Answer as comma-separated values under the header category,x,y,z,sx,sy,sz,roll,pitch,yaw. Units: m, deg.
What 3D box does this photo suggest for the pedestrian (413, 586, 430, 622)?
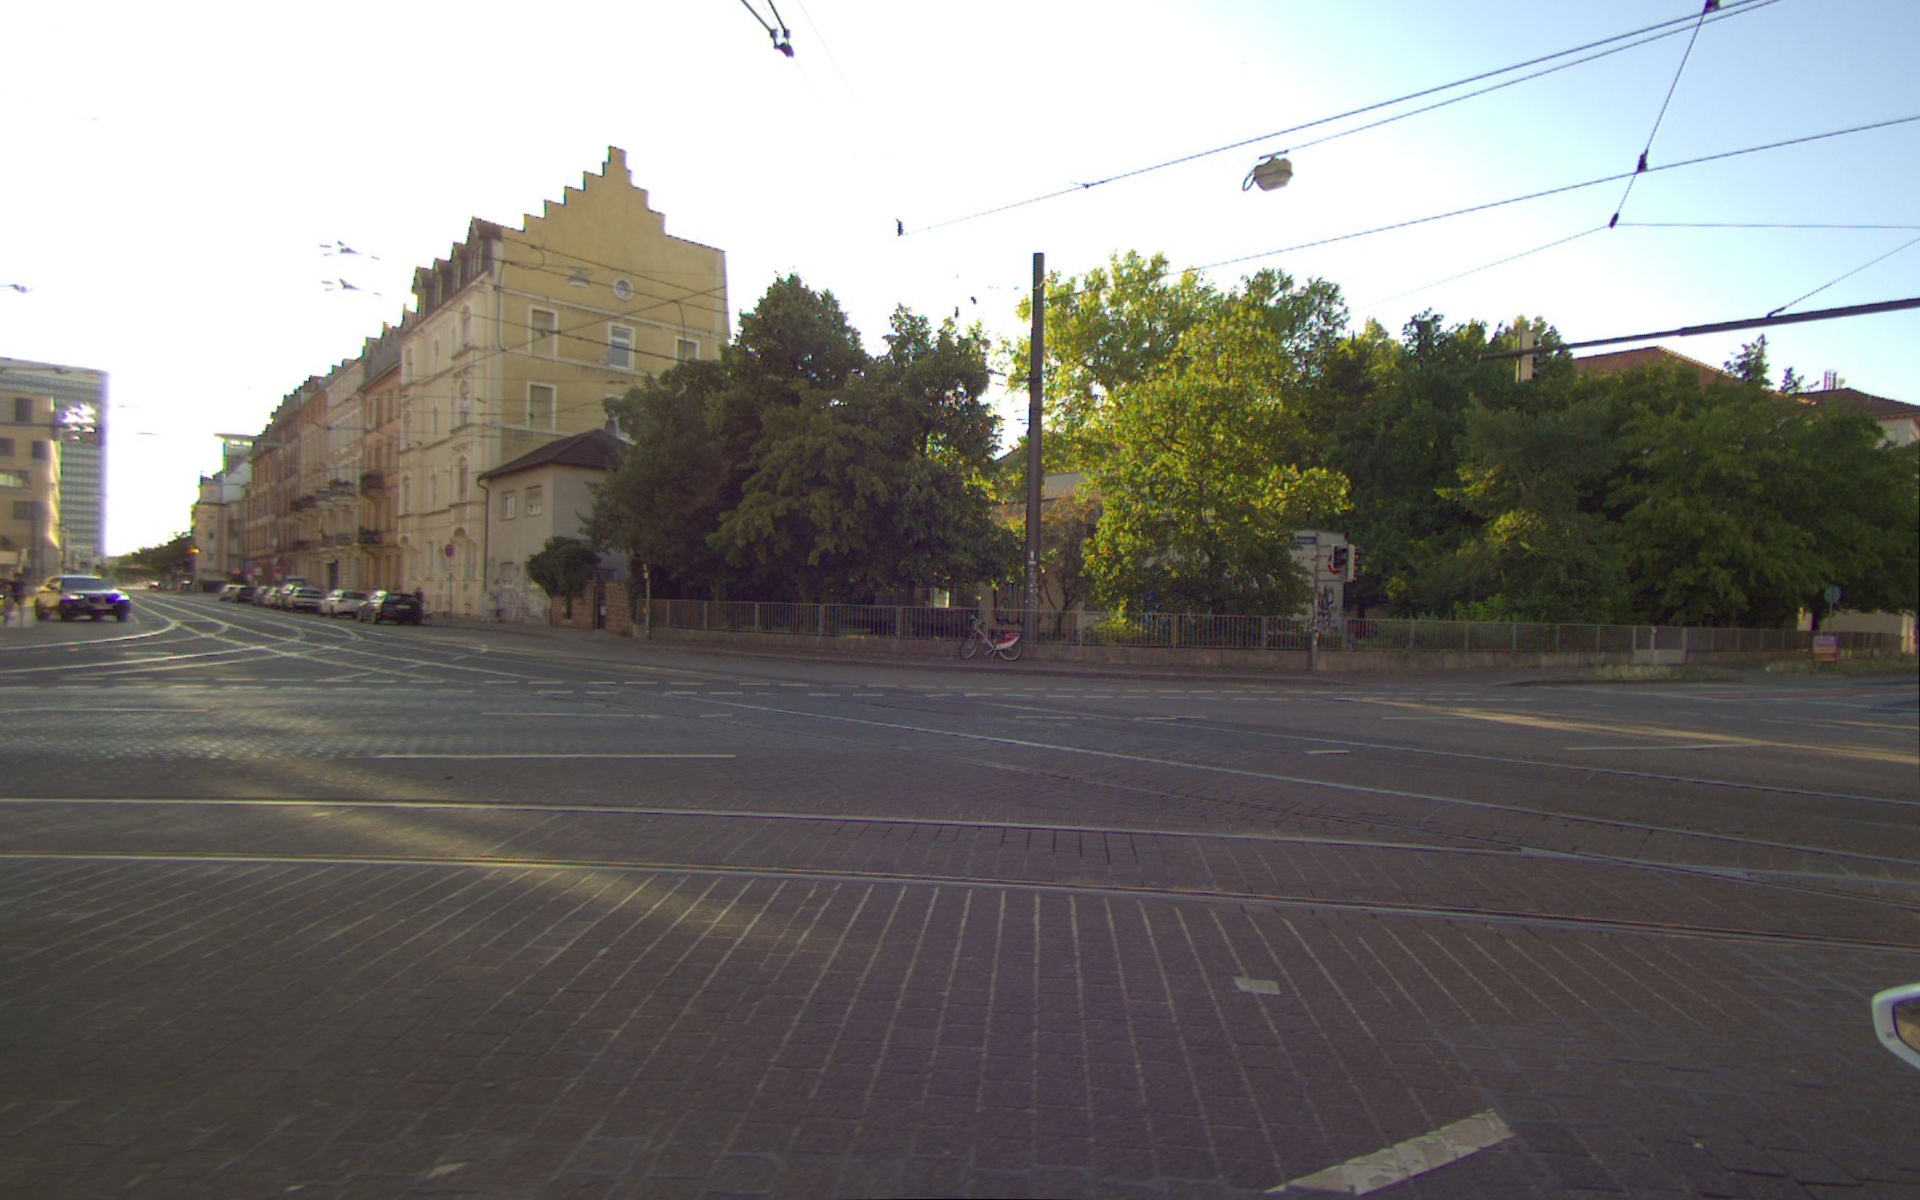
category,x,y,z,sx,sy,sz,roll,pitch,yaw
pedestrian,-26.695,0.204,49.786,0.582,1.728,0.708,1,1,-42

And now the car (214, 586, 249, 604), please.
category,x,y,z,sx,sy,sz,roll,pitch,yaw
car,-65.054,-0.482,89.679,1.987,1.506,3.947,1,0,-44

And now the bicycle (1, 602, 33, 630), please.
category,x,y,z,sx,sy,sz,roll,pitch,yaw
bicycle,-30.453,0.515,32.458,0.653,0.844,1.671,2,0,-40

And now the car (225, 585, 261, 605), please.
category,x,y,z,sx,sy,sz,roll,pitch,yaw
car,-60.092,-0.418,84.203,1.857,1.506,3.947,1,0,-44

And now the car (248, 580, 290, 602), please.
category,x,y,z,sx,sy,sz,roll,pitch,yaw
car,-50.266,-0.666,73.019,1.869,1.506,3.947,1,0,-44

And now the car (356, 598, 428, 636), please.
category,x,y,z,sx,sy,sz,roll,pitch,yaw
car,-24.919,0.741,44.011,1.985,1.506,3.951,1,0,-41

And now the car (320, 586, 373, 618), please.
category,x,y,z,sx,sy,sz,roll,pitch,yaw
car,-31.581,0.101,51.688,1.829,1.506,3.955,1,0,-39

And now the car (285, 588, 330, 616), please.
category,x,y,z,sx,sy,sz,roll,pitch,yaw
car,-38.712,0.098,59.564,1.833,1.506,3.955,1,0,-39

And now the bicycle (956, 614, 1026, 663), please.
category,x,y,z,sx,sy,sz,roll,pitch,yaw
bicycle,0.795,0.961,25.318,1.687,1.157,0.559,2,0,7

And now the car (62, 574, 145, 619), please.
category,x,y,z,sx,sy,sz,roll,pitch,yaw
car,-30.332,-0.138,35.541,1.987,1.506,3.947,1,0,-44

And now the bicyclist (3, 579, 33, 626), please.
category,x,y,z,sx,sy,sz,roll,pitch,yaw
bicyclist,-30.470,0.083,32.496,0.662,1.472,0.735,1,0,-41
